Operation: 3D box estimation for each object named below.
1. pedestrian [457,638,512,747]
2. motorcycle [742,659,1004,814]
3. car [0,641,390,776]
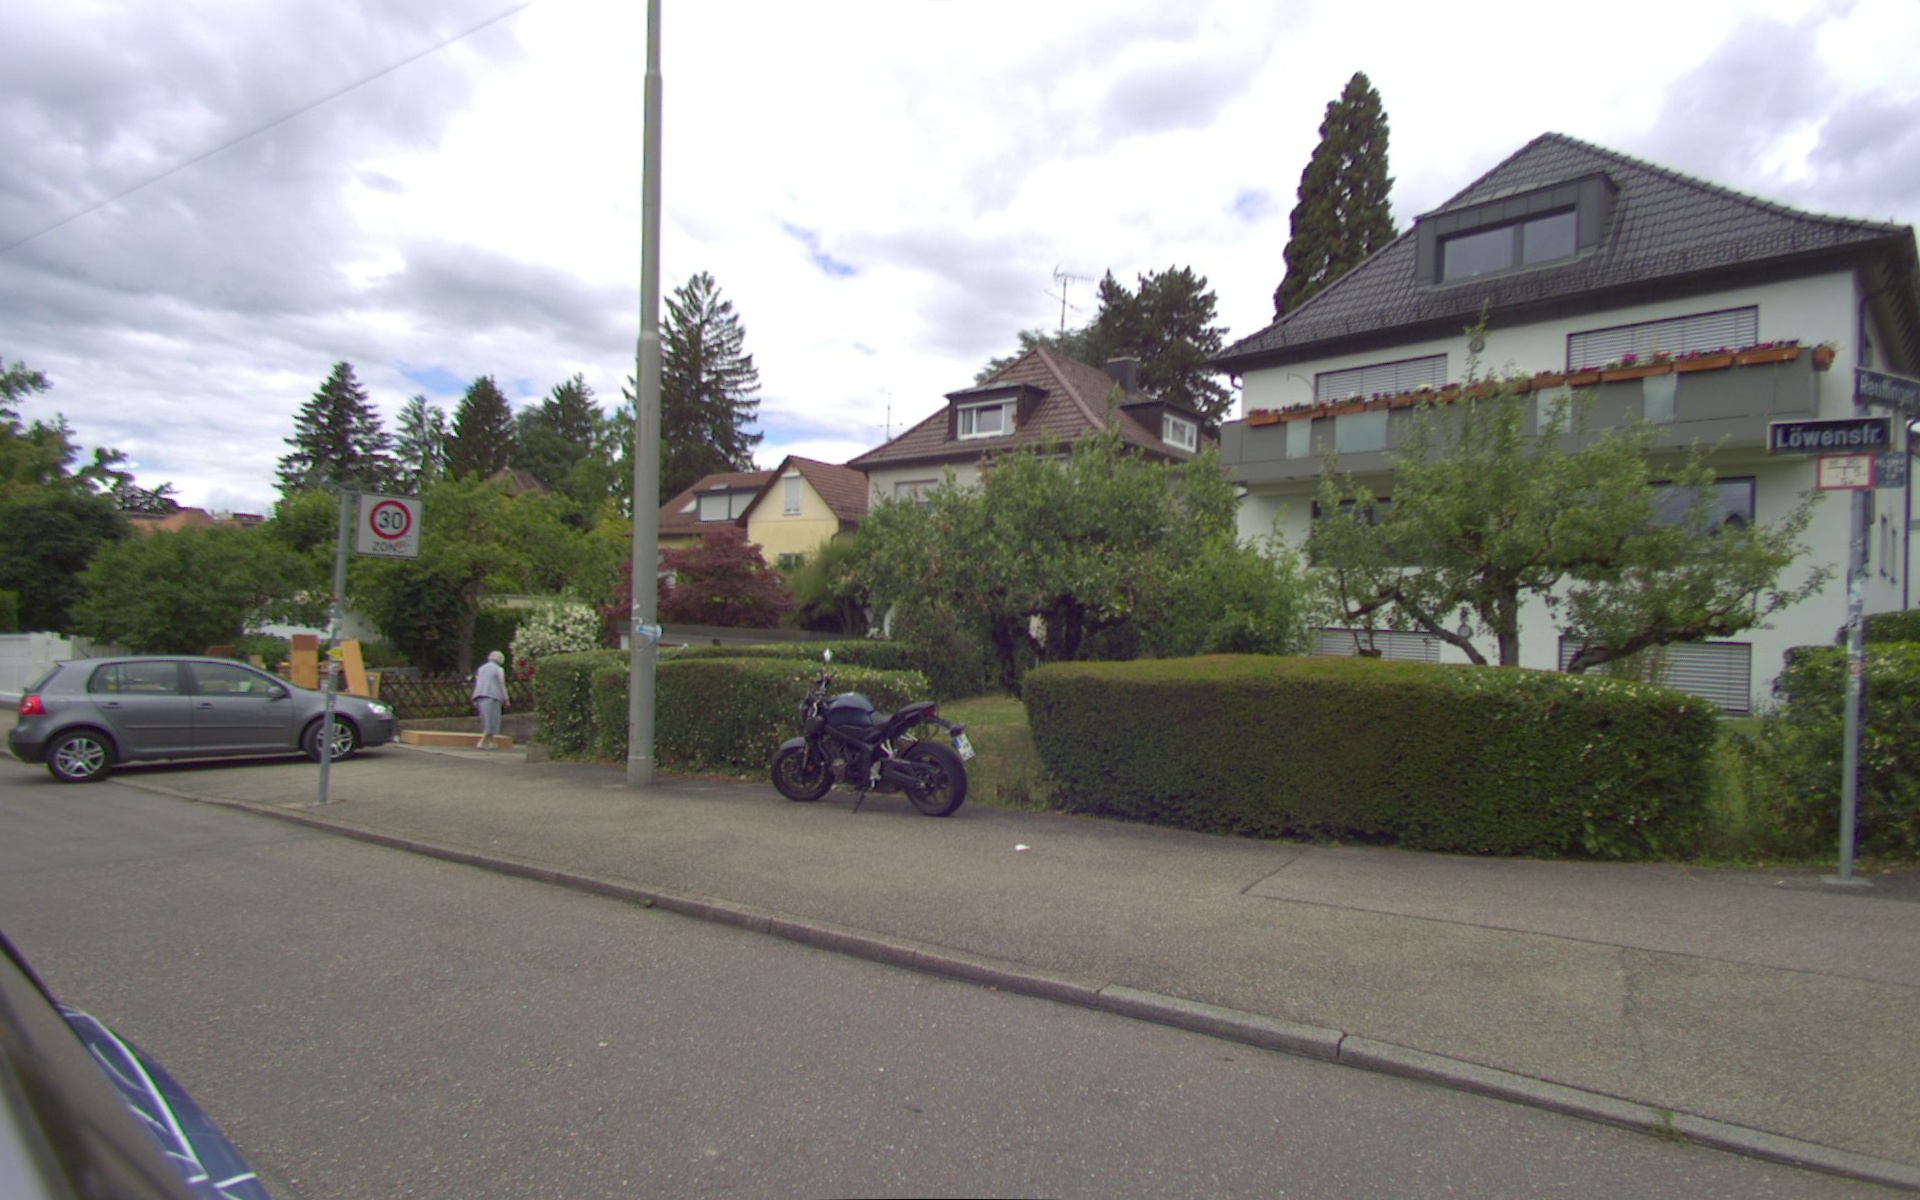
[{"bbox_3d":[-8.088,1.560,17.235,0.636,1.818,0.613,0,-2,-4],"label":"pedestrian"},{"bbox_3d":[-0.753,1.075,8.470,2.137,1.148,0.767,-2,-3,29],"label":"motorcycle"},{"bbox_3d":[-9.875,1.314,13.344,3.934,1.473,1.742,1,-3,-36],"label":"car"}]
